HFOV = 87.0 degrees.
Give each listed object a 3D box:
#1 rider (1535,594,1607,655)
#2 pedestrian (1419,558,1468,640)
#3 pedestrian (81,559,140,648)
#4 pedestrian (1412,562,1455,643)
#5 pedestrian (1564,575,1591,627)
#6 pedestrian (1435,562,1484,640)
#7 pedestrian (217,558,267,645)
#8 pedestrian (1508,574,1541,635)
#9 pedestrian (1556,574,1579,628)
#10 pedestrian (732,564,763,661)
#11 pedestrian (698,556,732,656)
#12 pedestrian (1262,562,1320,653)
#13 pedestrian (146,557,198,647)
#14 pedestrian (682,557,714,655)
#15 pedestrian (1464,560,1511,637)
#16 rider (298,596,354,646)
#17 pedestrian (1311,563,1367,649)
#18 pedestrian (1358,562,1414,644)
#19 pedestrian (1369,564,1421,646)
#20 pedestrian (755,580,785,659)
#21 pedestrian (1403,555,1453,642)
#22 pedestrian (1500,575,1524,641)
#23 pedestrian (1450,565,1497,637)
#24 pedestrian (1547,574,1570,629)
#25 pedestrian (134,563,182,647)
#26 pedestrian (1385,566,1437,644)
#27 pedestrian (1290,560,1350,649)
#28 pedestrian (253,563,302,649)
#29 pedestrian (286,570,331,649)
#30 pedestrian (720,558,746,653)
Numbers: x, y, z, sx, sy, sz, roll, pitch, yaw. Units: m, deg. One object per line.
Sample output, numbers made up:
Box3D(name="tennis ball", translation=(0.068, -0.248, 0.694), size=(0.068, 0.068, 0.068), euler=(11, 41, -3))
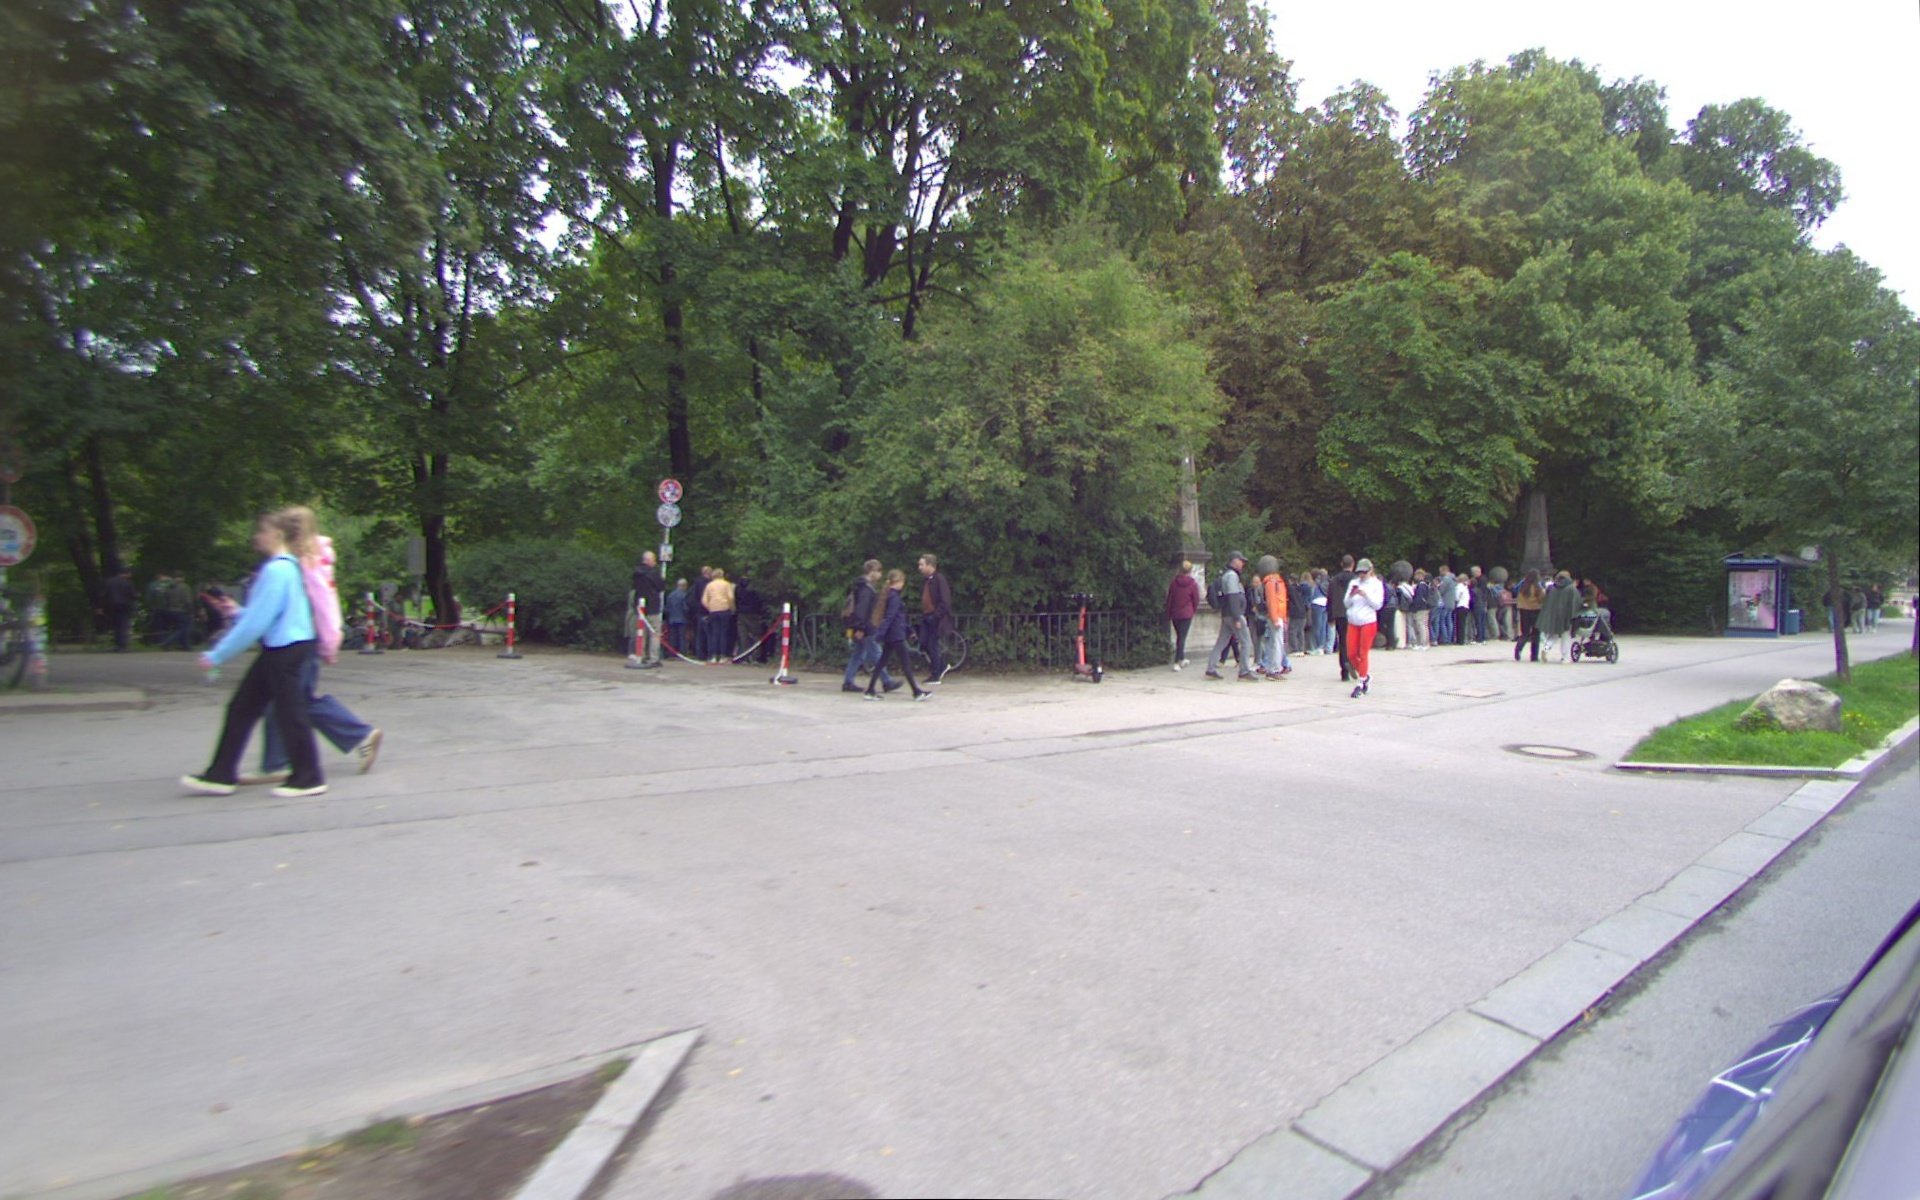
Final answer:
Box3D(name="rider", translation=(11.633, 0.445, 19.260), size=(1.221, 1.126, 0.767), euler=(0, 0, -36))
Box3D(name="pedestrian", translation=(11.345, -0.029, 23.747), size=(0.715, 1.898, 0.814), euler=(0, 0, -38))
Box3D(name="pedestrian", translation=(-16.671, 0.065, 19.860), size=(0.683, 1.717, 0.608), euler=(0, 0, 15))
Box3D(name="pedestrian", translation=(10.255, 0.056, 21.922), size=(0.715, 1.712, 0.593), euler=(0, 0, -38))
Box3D(name="pedestrian", translation=(21.757, 0.036, 35.665), size=(0.522, 1.790, 0.639), euler=(0, 0, -9))
Box3D(name="pedestrian", translation=(11.937, 0.020, 24.187), size=(0.715, 1.813, 0.814), euler=(0, 0, -38))
Box3D(name="pedestrian", translation=(-14.379, 0.028, 20.277), size=(0.687, 1.717, 0.605), euler=(0, 0, 31))
Box3D(name="pedestrian", translation=(15.295, 0.122, 27.419), size=(0.523, 1.637, 0.638), euler=(0, 0, -38))
Box3D(name="pedestrian", translation=(17.099, 0.026, 28.473), size=(0.434, 1.526, 0.421), euler=(0, 0, -38))
Box3D(name="pedestrian", translation=(-3.947, 0.227, 18.781), size=(0.507, 1.785, 0.409), euler=(0, 0, -19))
Box3D(name="pedestrian", translation=(-4.418, 0.108, 18.296), size=(0.556, 1.785, 0.523), euler=(0, 0, -9))
Box3D(name="pedestrian", translation=(6.399, 0.128, 19.578), size=(0.715, 1.712, 0.814), euler=(0, 0, -38))
Box3D(name="pedestrian", translation=(-15.478, 0.035, 19.879), size=(0.687, 1.717, 0.605), euler=(0, 0, 29))
Box3D(name="pedestrian", translation=(-4.902, 0.104, 18.930), size=(0.540, 1.785, 0.612), euler=(0, 0, -19))
Box3D(name="pedestrian", translation=(13.059, -0.044, 25.077), size=(0.715, 1.875, 0.814), euler=(0, 0, -38))
Box3D(name="rider", translation=(-12.550, 0.408, 20.038), size=(0.884, 0.953, 0.605), euler=(0, 0, 31))
Box3D(name="pedestrian", translation=(7.747, 0.101, 20.686), size=(0.715, 1.712, 0.814), euler=(0, 1, -38))
Box3D(name="pedestrian", translation=(9.137, 0.046, 21.715), size=(0.715, 1.711, 0.814), euler=(0, 2, -38))
Box3D(name="pedestrian", translation=(9.620, 0.107, 22.364), size=(0.715, 1.761, 0.814), euler=(0, 0, -38))
Box3D(name="pedestrian", translation=(-3.629, 0.368, 19.331), size=(0.507, 1.492, 0.409), euler=(0, 0, -19))
Box3D(name="pedestrian", translation=(10.757, -0.034, 23.270), size=(0.715, 1.941, 0.814), euler=(0, 0, -38))
Box3D(name="pedestrian", translation=(14.653, 0.200, 26.870), size=(0.434, 1.725, 0.421), euler=(0, 0, -39))
Box3D(name="pedestrian", translation=(12.495, 0.027, 24.630), size=(0.661, 1.712, 0.814), euler=(0, 0, -38))
Box3D(name="pedestrian", translation=(16.711, 0.043, 28.238), size=(0.434, 1.526, 0.421), euler=(0, 0, -38))
Box3D(name="pedestrian", translation=(-16.867, 0.102, 21.285), size=(0.687, 1.717, 0.605), euler=(0, 0, 31))
Box3D(name="pedestrian", translation=(10.168, 0.103, 22.822), size=(0.715, 1.712, 0.814), euler=(0, 0, -38))
Box3D(name="pedestrian", translation=(7.172, 0.080, 20.162), size=(0.715, 1.711, 0.814), euler=(0, 2, -38))
Box3D(name="pedestrian", translation=(-14.038, 0.118, 20.809), size=(0.687, 1.717, 0.605), euler=(0, 0, 31))
Box3D(name="pedestrian", translation=(-14.348, 0.205, 22.285), size=(0.687, 1.717, 0.605), euler=(0, 0, 31))
Box3D(name="pedestrian", translation=(-4.319, 0.100, 19.227), size=(0.427, 1.785, 0.528), euler=(0, 0, -19))
